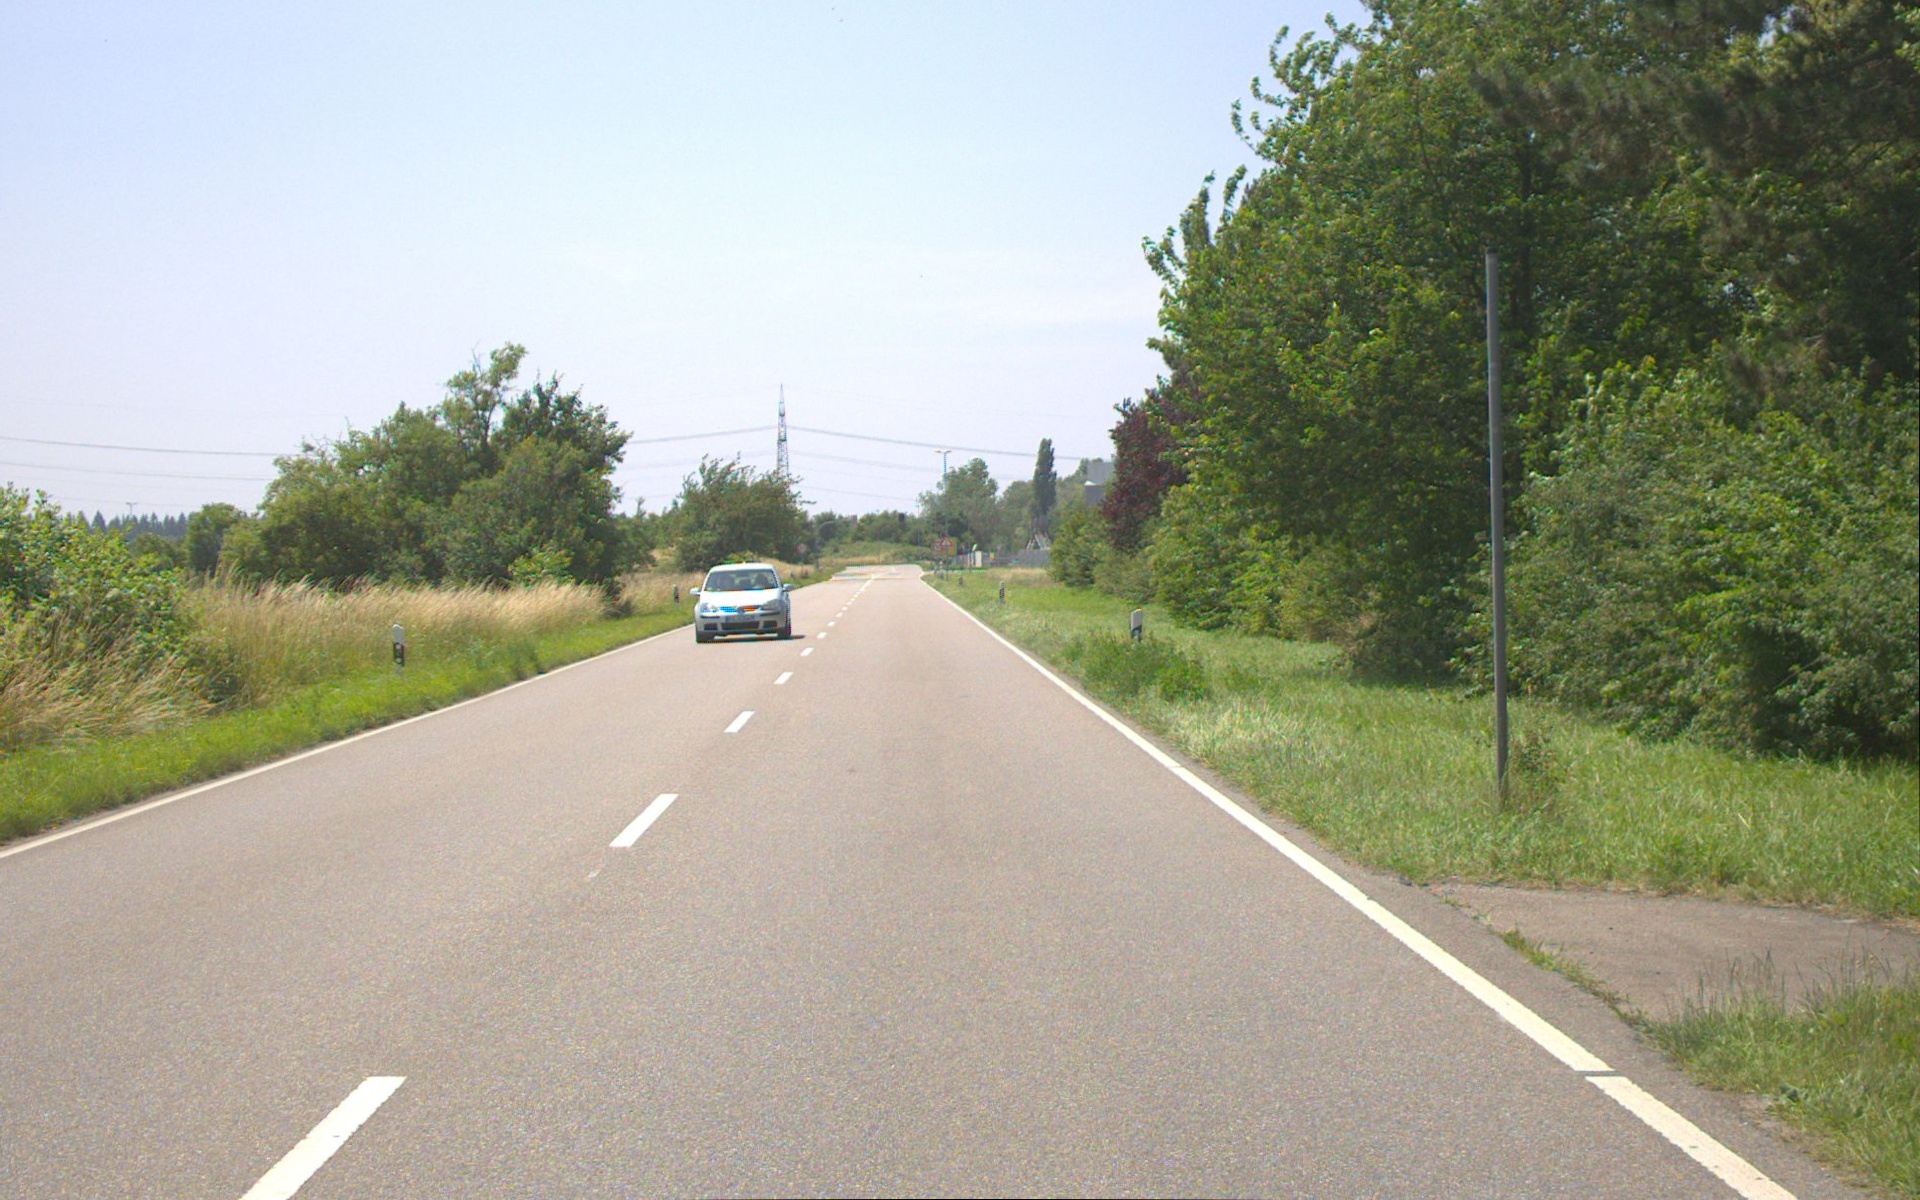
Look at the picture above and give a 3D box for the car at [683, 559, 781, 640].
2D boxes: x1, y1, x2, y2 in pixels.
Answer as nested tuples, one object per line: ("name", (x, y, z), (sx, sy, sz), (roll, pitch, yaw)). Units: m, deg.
("car", (-4.351, -0.036, 66.203), (1.678, 1.416, 4.422), (-3, 1, -2))
